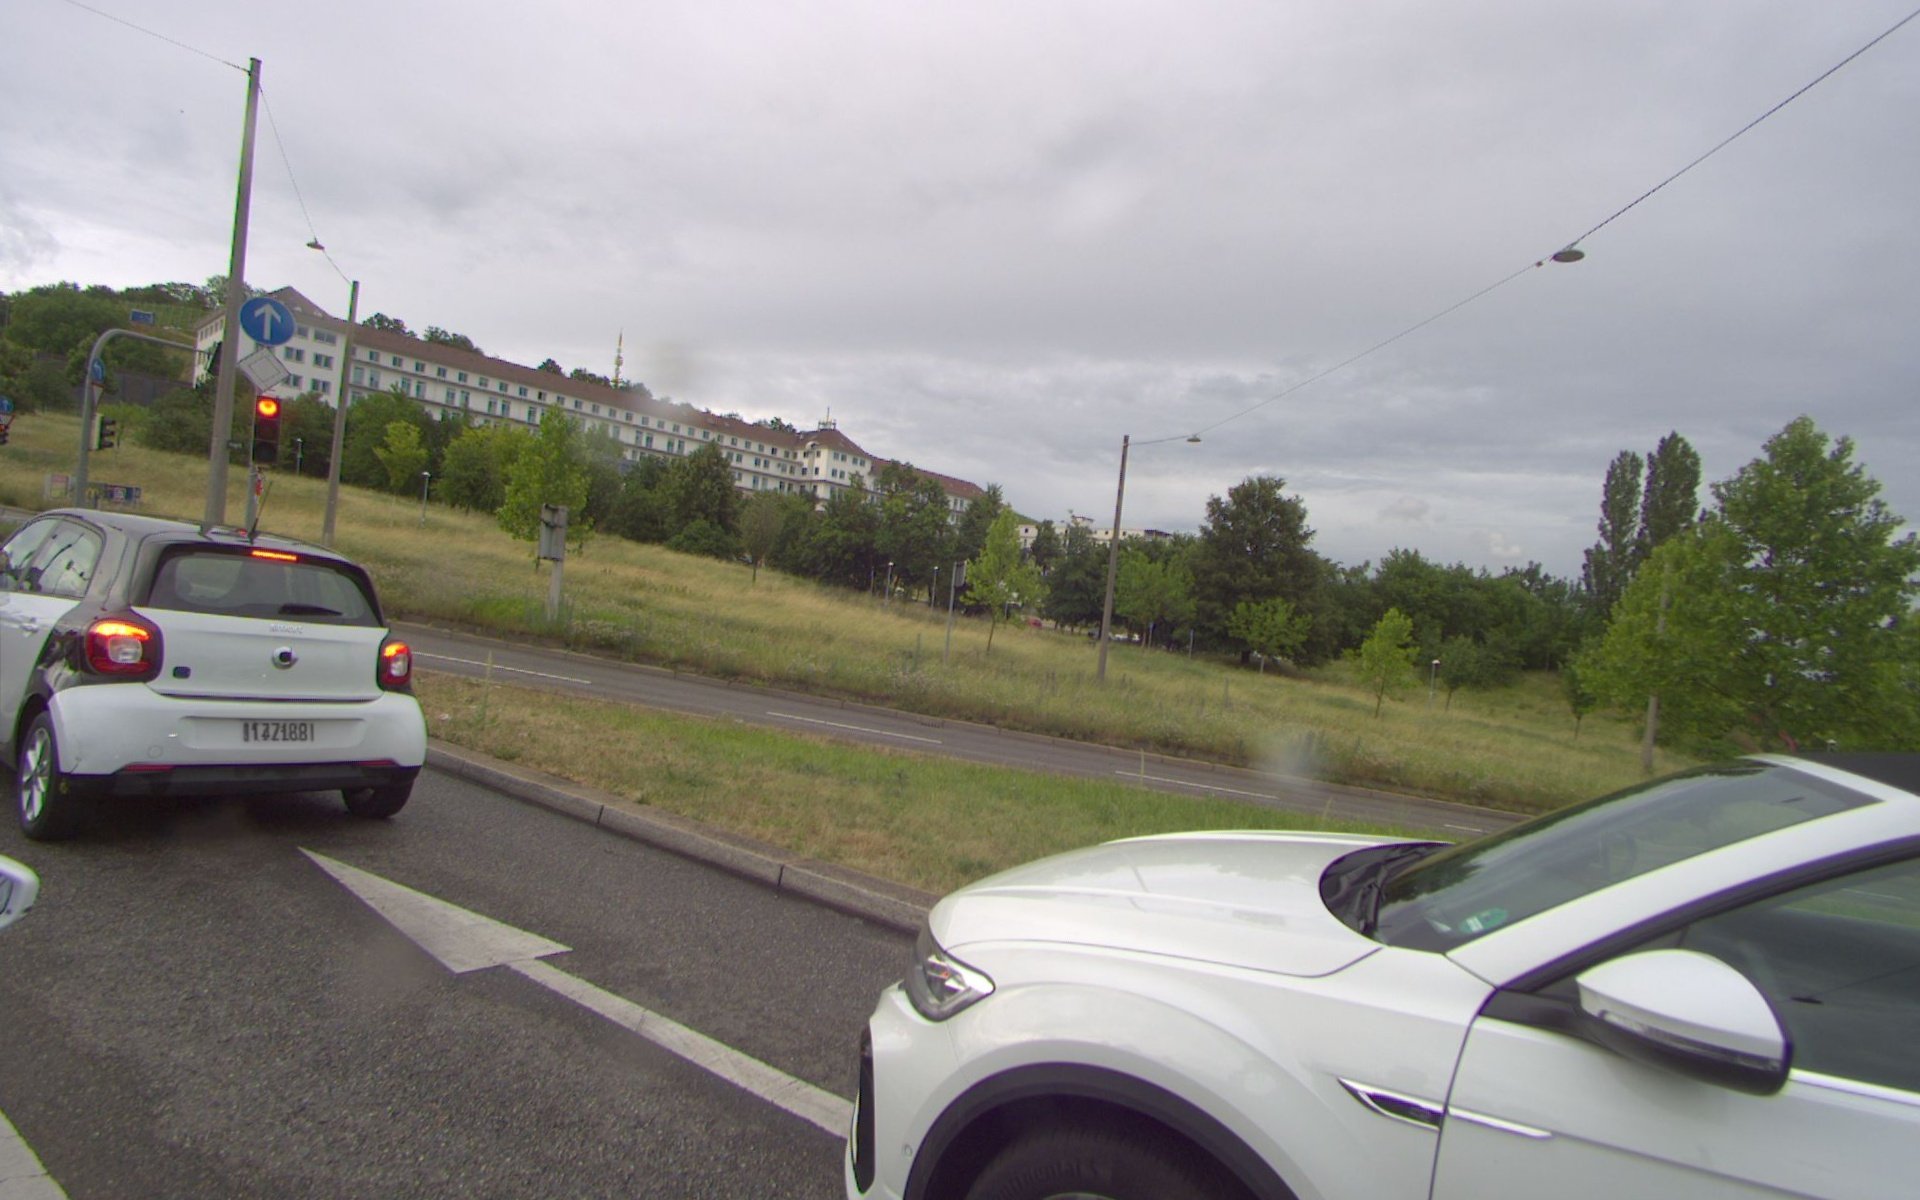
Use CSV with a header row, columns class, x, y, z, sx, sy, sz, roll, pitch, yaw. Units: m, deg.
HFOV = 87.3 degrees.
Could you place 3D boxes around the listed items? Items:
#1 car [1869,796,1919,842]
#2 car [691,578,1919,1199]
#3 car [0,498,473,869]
class,x,y,z,sx,sy,sz,roll,pitch,yaw
car,41.319,9.453,42.868,3.901,1.554,1.994,8,-2,-17
car,1.720,1.005,1.832,4.156,1.571,1.718,6,-2,28
car,-4.612,0.315,5.853,3.397,1.520,1.659,6,-2,36
